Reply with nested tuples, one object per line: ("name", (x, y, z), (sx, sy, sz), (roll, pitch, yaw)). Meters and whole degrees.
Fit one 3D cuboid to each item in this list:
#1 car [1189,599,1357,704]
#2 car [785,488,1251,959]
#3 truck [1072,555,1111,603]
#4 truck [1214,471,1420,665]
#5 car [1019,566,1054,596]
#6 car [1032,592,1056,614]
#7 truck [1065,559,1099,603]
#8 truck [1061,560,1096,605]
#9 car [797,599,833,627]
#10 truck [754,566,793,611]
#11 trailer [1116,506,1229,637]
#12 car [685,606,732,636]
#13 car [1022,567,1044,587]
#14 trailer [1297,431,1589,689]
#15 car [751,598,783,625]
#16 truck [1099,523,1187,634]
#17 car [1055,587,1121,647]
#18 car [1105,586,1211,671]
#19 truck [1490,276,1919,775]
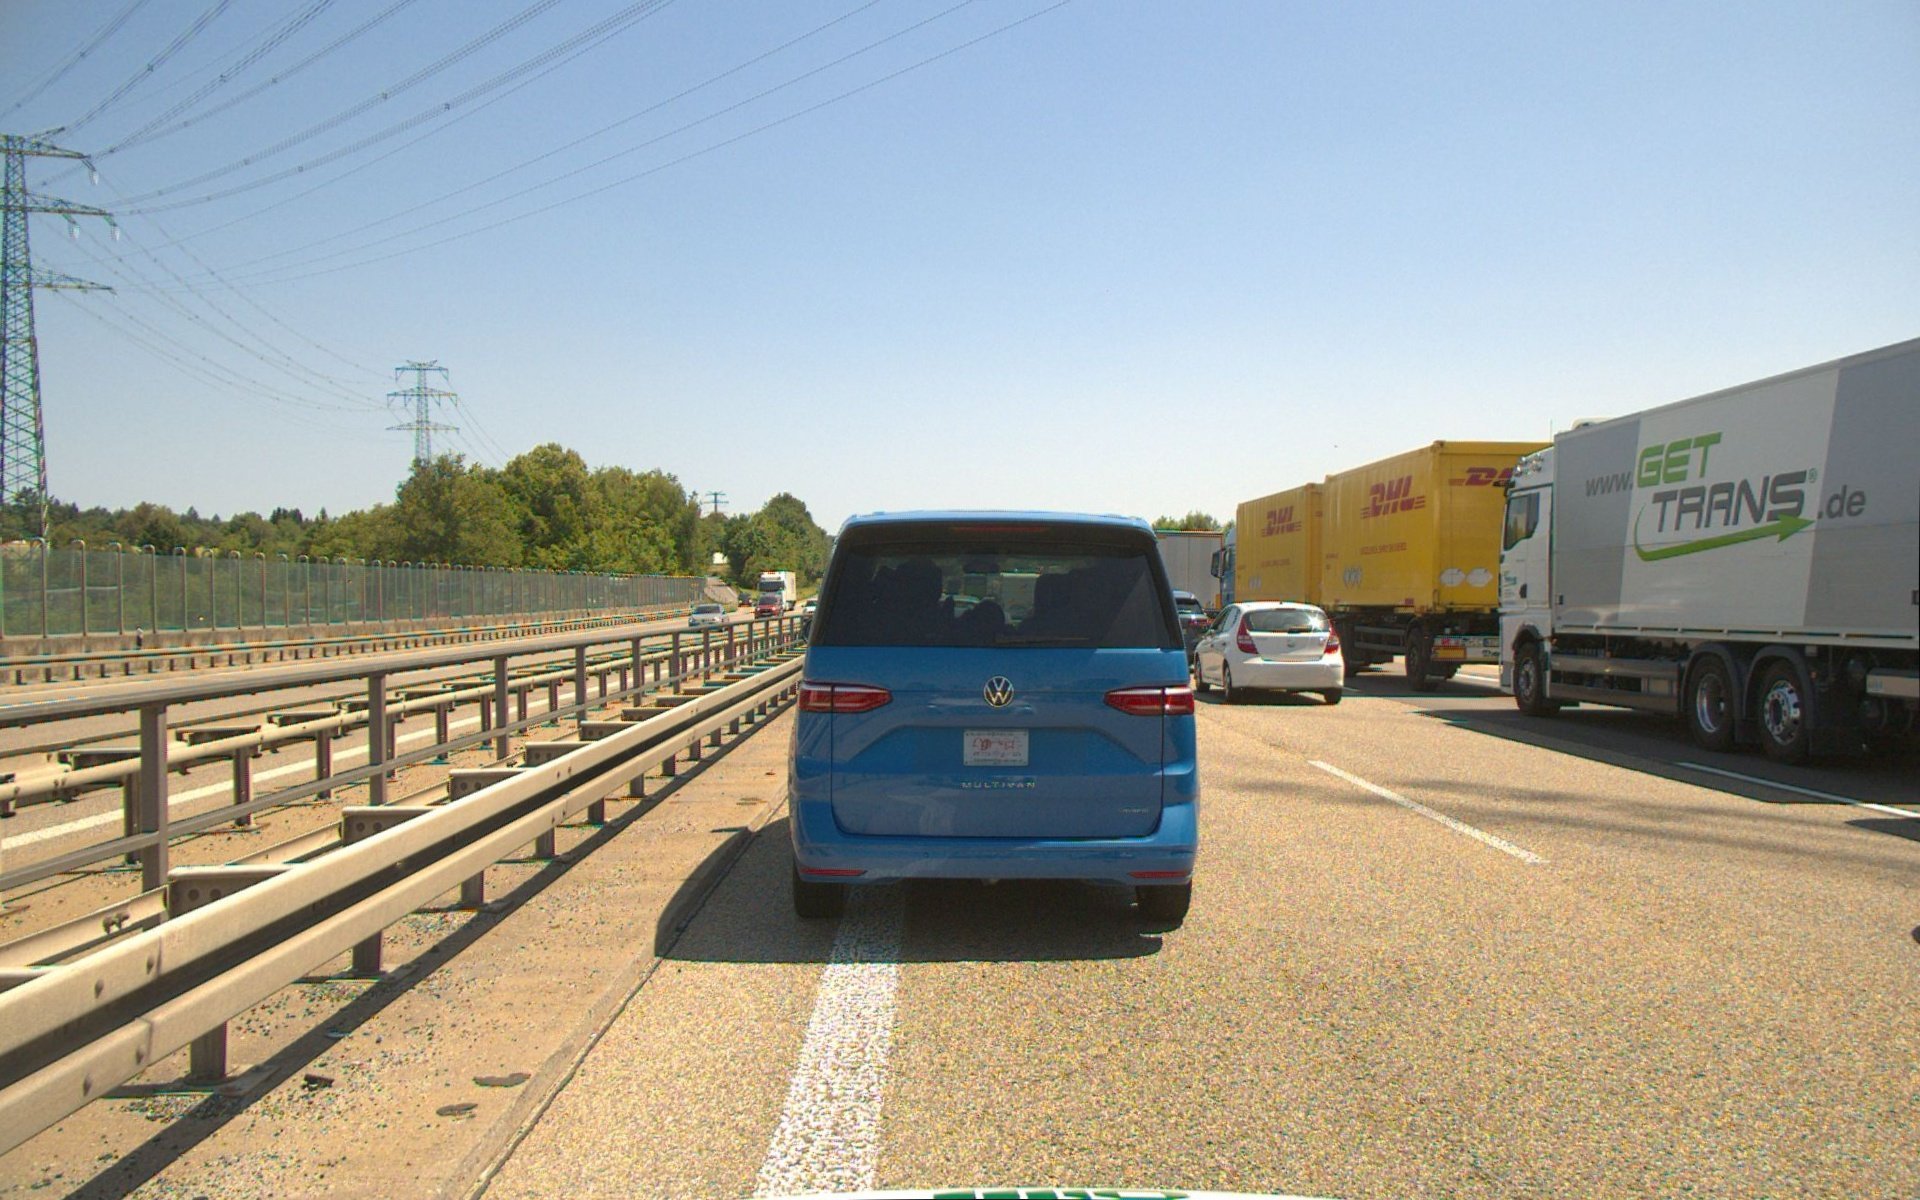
("car", (4.813, 0.766, 25.921), (1.778, 1.496, 3.930), (1, -1, -2))
("car", (0.223, 0.527, 8.811), (1.891, 1.906, 3.999), (1, -1, -1))
("truck", (7.189, -1.110, 90.676), (1.761, 2.492, 4.503), (1, -1, 0))
("truck", (8.497, -0.645, 40.785), (2.645, 4.159, 9.936), (1, -1, -2))
("car", (4.651, -1.148, 100.840), (1.880, 1.736, 3.999), (1, -1, -1))
("car", (7.020, 0.270, 137.841), (1.760, 1.782, 3.943), (1, -1, 0))
("truck", (7.697, -1.190, 104.911), (1.760, 2.641, 4.305), (1, -1, 0))
("truck", (7.099, -1.041, 99.513), (1.706, 2.593, 4.209), (1, -1, 0))
("car", (-9.060, 0.827, 103.418), (1.834, 1.556, 3.607), (-5, 0, -1))
("truck", (-18.804, -1.120, 167.235), (2.869, 4.368, 6.857), (-3, -1, 0))
("trailer", (8.173, -0.986, 65.074), (2.964, 4.692, 10.923), (1, -1, 0))
("car", (-13.194, 1.076, 86.925), (1.834, 1.467, 4.384), (-2, 0, -1))
("car", (6.804, -2.148, 154.464), (1.760, 1.782, 3.943), (1, -1, 0))
("trailer", (8.792, -0.612, 31.432), (2.628, 4.159, 8.977), (1, -1, -2))
("car", (-13.764, 0.816, 118.264), (1.802, 1.854, 4.746), (-1, -1, -1))
("truck", (8.135, -0.896, 74.504), (2.964, 4.692, 7.920), (1, -1, 0))
("car", (4.415, 0.597, 57.368), (1.922, 1.970, 3.931), (1, -1, -1))
("car", (4.239, 0.601, 35.913), (1.778, 1.708, 3.931), (1, -1, -1))
("truck", (9.007, -0.538, 18.157), (2.794, 4.003, 10.607), (1, -1, -1))
